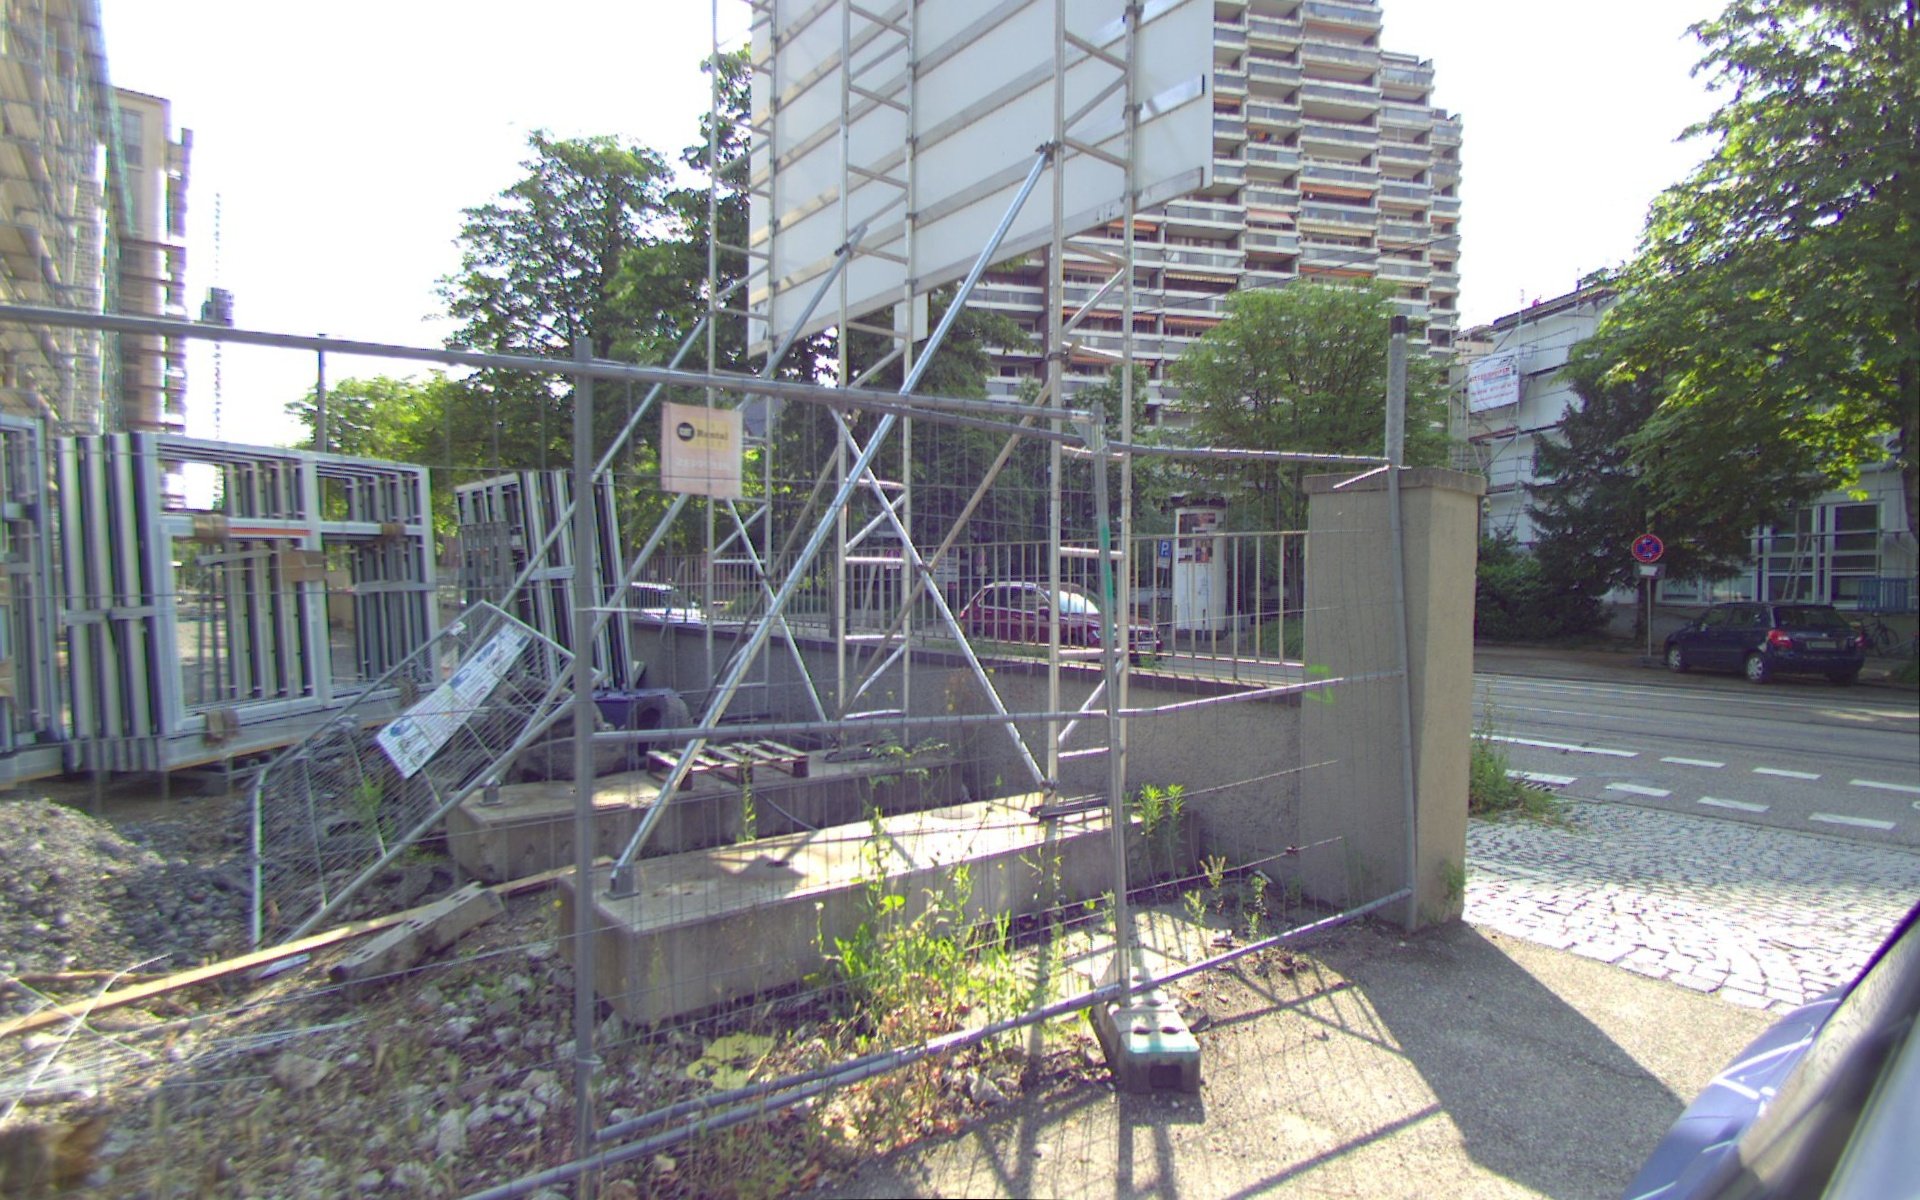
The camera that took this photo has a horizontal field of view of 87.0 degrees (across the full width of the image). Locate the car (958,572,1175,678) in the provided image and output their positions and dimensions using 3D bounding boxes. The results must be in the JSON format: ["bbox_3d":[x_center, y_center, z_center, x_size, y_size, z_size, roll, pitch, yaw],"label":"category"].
[{"bbox_3d":[1.857,0.356,18.695,1.649,1.631,3.968,-1,3,-39],"label":"car"}]

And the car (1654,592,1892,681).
[{"bbox_3d":[15.405,0.637,19.485,1.731,1.481,3.989,-3,0,9],"label":"car"}]

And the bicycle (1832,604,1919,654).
[{"bbox_3d":[22.112,0.687,24.322,2.014,1.101,0.497,-3,-1,-8],"label":"bicycle"}]

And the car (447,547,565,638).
[{"bbox_3d":[-14.588,-0.118,32.299,2.091,2.601,5.912,1,-3,-38],"label":"car"}]

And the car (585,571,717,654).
[{"bbox_3d":[-7.036,0.344,22.750,1.736,1.628,4.459,0,-3,-32],"label":"car"}]
